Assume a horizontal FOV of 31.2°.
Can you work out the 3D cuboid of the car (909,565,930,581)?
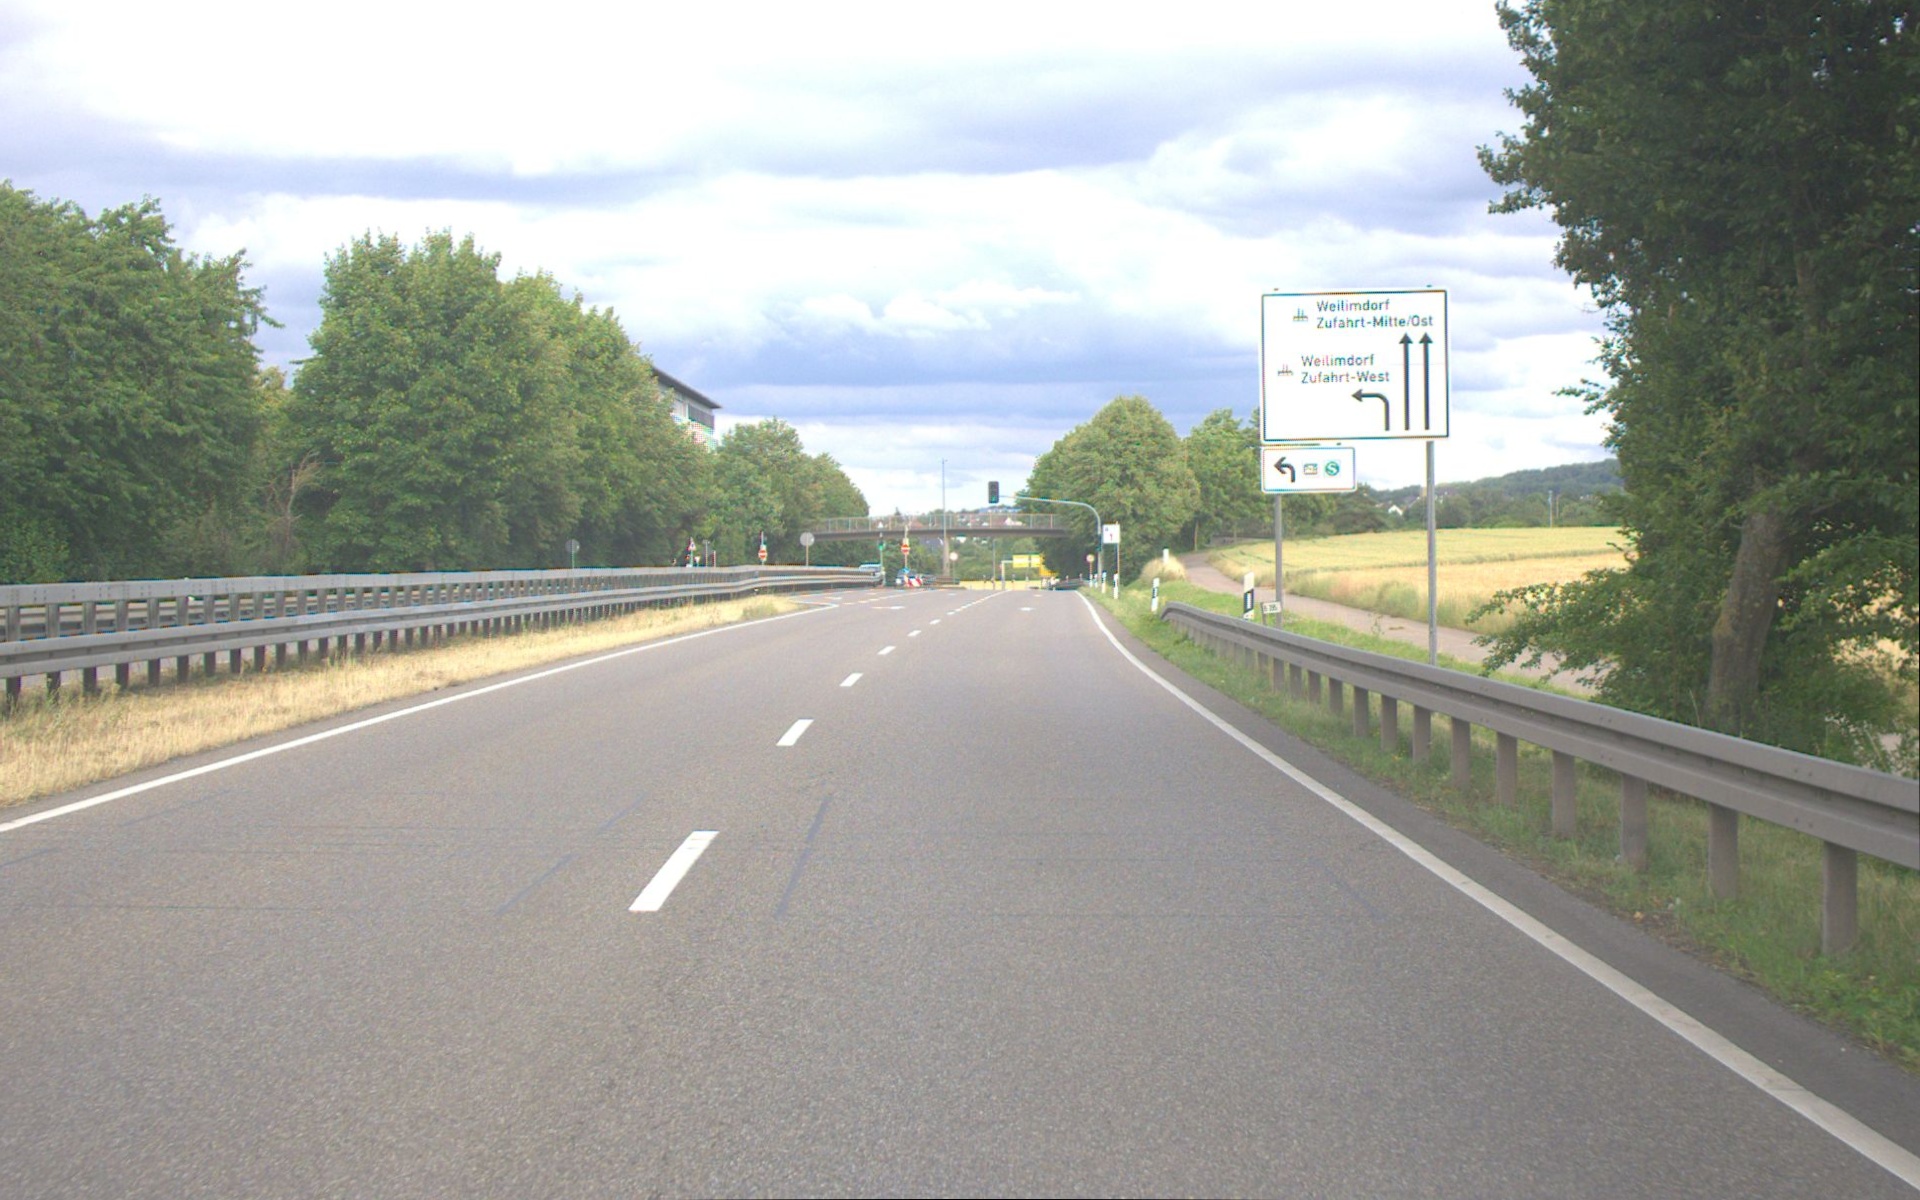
[{"bbox_3d":[-2.889,-1.932,244.862,1.358,1.088,2.921,0,1,3],"label":"car"}]
